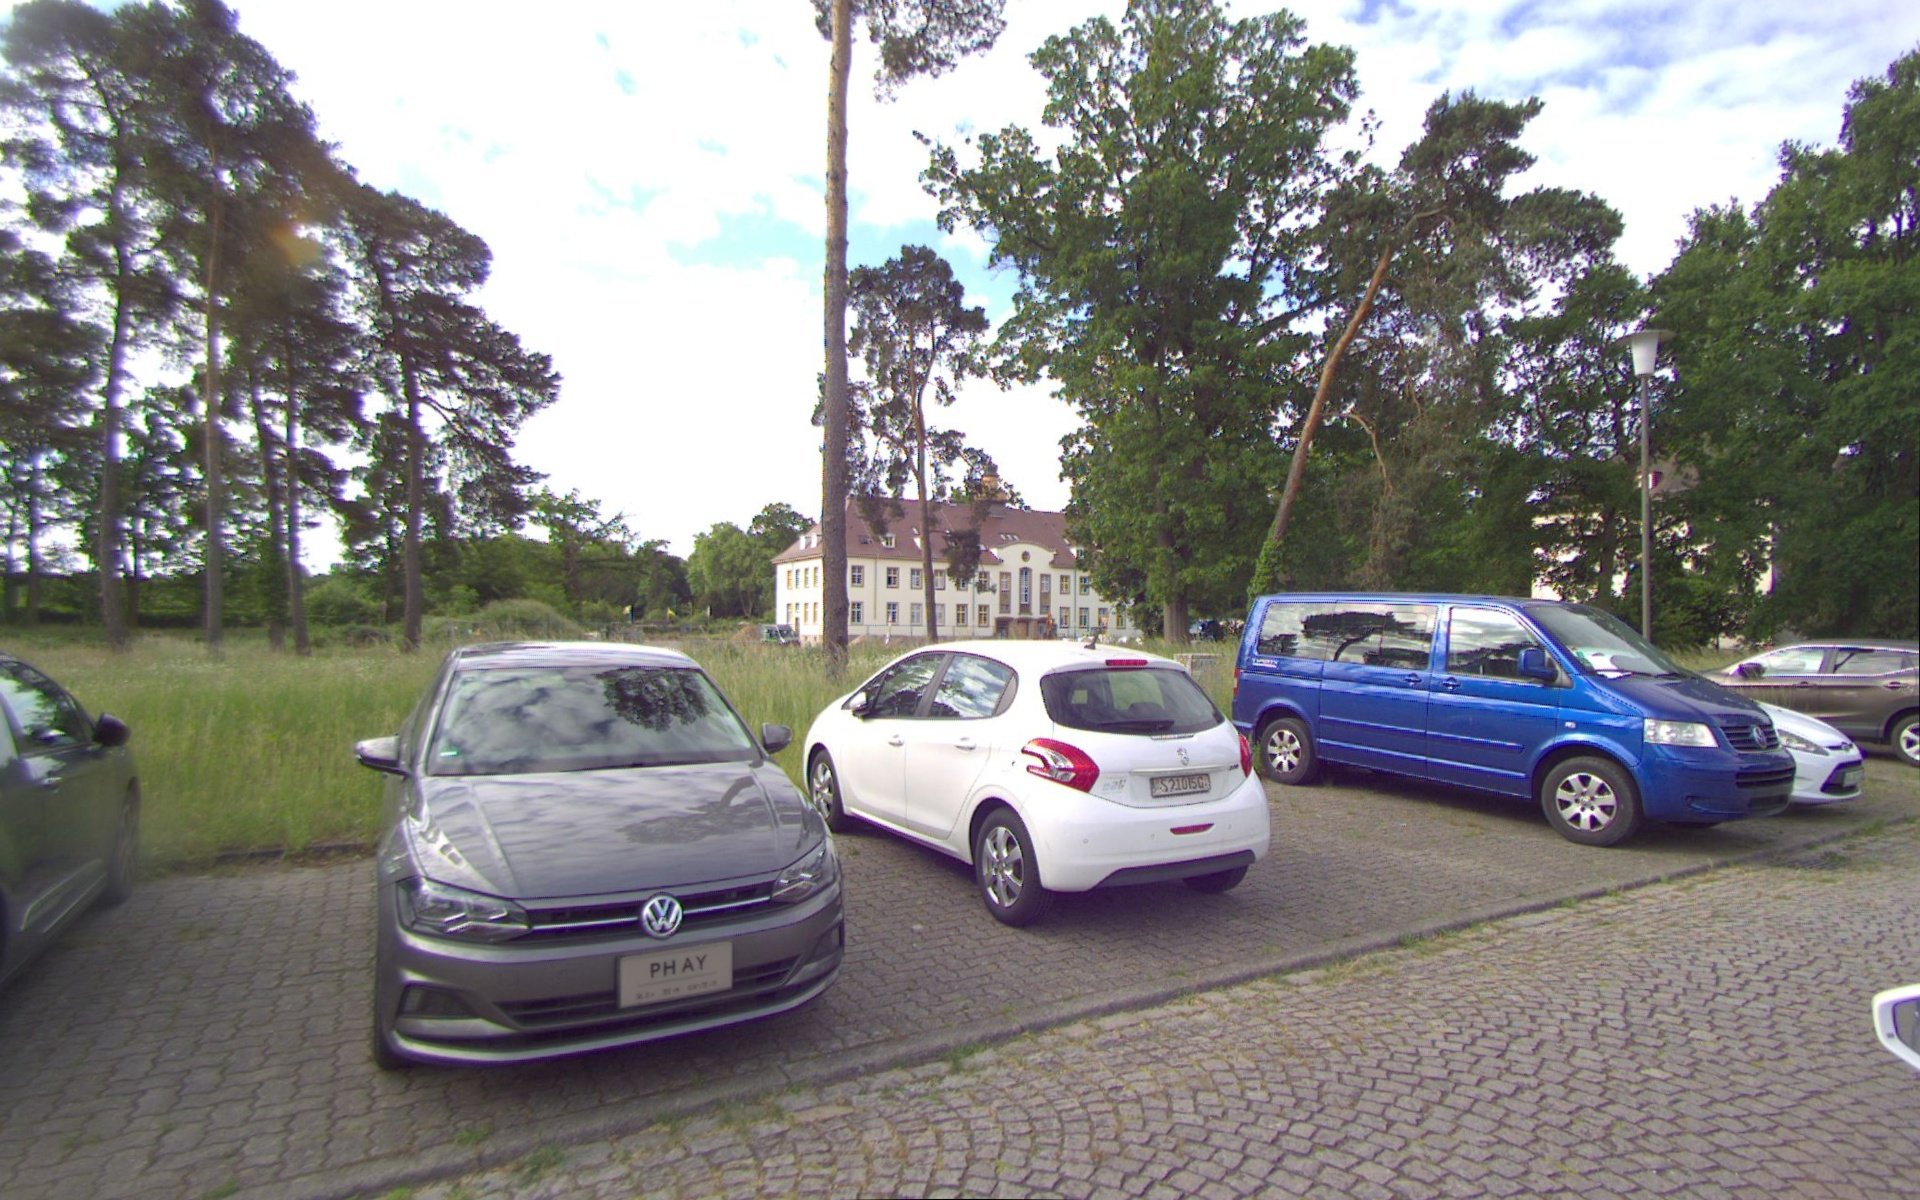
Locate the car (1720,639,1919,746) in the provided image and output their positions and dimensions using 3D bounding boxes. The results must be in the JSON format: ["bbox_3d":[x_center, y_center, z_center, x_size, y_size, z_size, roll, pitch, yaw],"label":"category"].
[{"bbox_3d":[14.536,1.415,15.785,1.741,1.506,3.797,1,-1,-31],"label":"car"}]

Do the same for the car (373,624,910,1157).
[{"bbox_3d":[-1.966,0.897,5.199,1.710,1.500,4.286,1,-1,-29],"label":"car"}]

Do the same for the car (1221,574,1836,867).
[{"bbox_3d":[4.899,0.877,9.452,2.015,2.007,4.685,1,-1,-31],"label":"car"}]

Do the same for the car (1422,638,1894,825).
[{"bbox_3d":[7.140,1.205,10.653,1.707,1.513,3.772,1,-1,-33],"label":"car"}]

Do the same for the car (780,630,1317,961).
[{"bbox_3d":[0.272,0.999,6.982,1.820,1.521,3.988,1,-1,-29],"label":"car"}]

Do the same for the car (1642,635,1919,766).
[{"bbox_3d":[12.296,1.328,14.160,1.933,1.596,4.046,1,-1,-32],"label":"car"}]

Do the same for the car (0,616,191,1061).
[{"bbox_3d":[-4.647,0.816,4.143,1.734,1.500,4.070,1,-1,-29],"label":"car"}]

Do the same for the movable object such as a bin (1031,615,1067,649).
[{"bbox_3d":[9.869,3.577,111.640,2.105,3.688,6.121,2,-3,-13],"label":"movable object such as a bin"}]

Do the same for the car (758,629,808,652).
[{"bbox_3d":[-17.853,4.062,101.080,2.351,2.142,5.759,4,-3,-39],"label":"car"}]

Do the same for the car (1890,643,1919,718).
[{"bbox_3d":[20.933,1.636,19.580,1.767,1.509,3.796,1,-1,-31],"label":"car"}]

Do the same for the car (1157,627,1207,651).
[{"bbox_3d":[20.619,3.649,93.342,4.297,2.122,2.051,4,-4,-32],"label":"car"}]
